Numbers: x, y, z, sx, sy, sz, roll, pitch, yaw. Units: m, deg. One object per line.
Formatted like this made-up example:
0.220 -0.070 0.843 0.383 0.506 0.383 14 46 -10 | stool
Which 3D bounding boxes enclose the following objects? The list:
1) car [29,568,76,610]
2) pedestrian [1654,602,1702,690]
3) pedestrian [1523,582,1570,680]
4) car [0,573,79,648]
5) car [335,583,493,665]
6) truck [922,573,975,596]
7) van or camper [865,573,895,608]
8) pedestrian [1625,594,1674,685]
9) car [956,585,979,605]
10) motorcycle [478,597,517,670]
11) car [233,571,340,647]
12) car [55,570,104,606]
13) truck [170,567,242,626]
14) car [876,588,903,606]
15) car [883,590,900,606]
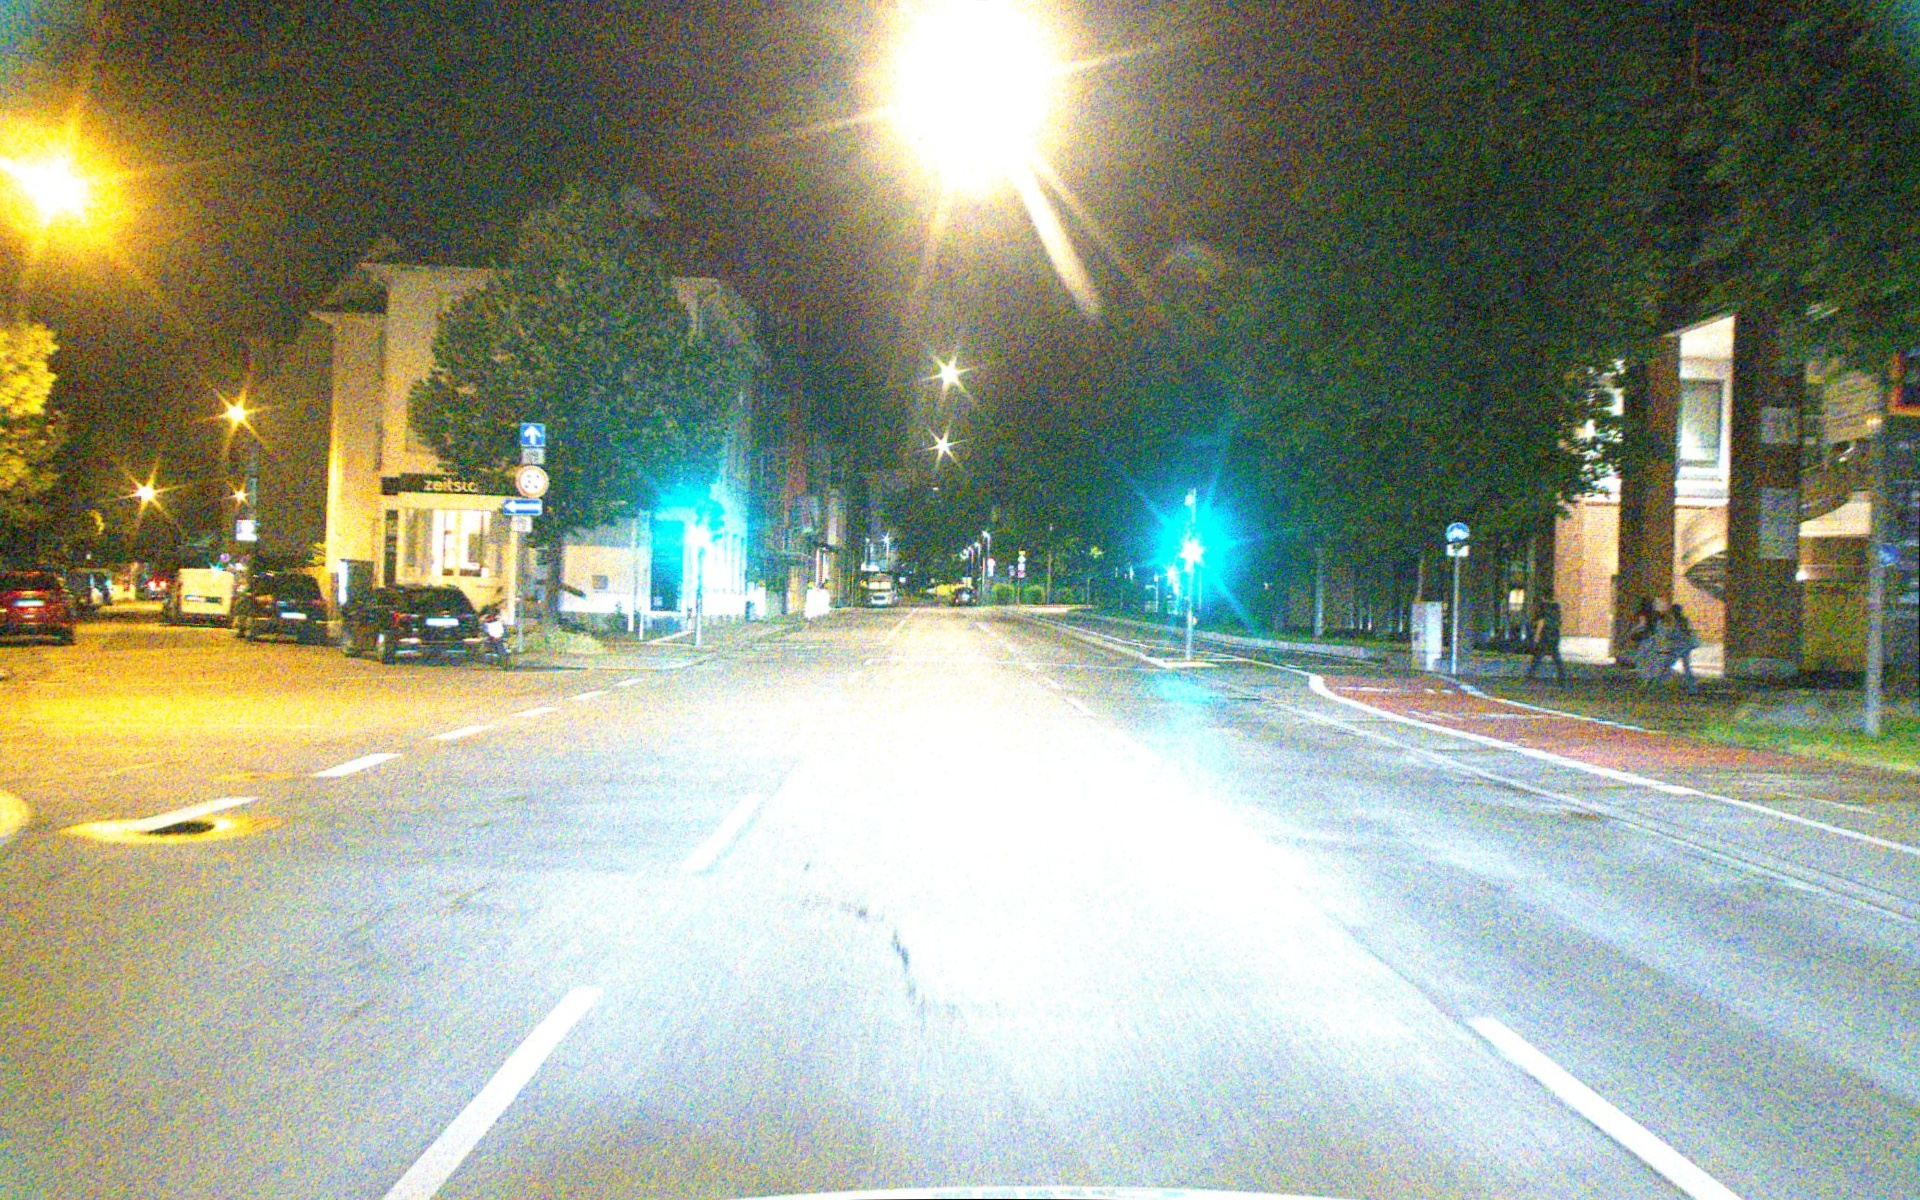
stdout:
-41.996 -0.519 76.591 1.774 1.841 3.964 1 0 -27 | car
13.009 0.823 29.975 0.561 1.560 0.633 1 0 -1 | pedestrian
11.231 0.591 31.678 0.609 1.843 0.759 1 0 -1 | pedestrian
-21.626 0.221 38.578 1.817 1.641 4.218 -1 0 -29 | car
-10.617 0.417 31.950 1.868 1.449 4.678 0 0 -32 | car
-1.504 -2.015 215.143 6.643 2.894 1.998 2 0 -4 | truck
-6.138 -0.676 126.981 2.114 2.580 6.224 -1 0 -1 | van or camper
12.939 0.734 31.032 0.608 1.667 0.679 1 0 -1 | pedestrian
0.622 -0.369 137.590 1.845 1.631 4.107 0 0 1 | car
-8.063 0.569 28.824 0.563 1.200 2.022 1 0 -18 | motorcycle
-16.535 0.190 40.487 1.893 1.673 4.072 4 -1 -29 | car
-44.222 -0.578 83.113 1.873 1.766 3.969 1 -1 -24 | car
-24.797 -0.106 54.333 1.869 1.839 4.074 1 -1 -29 | truck
-5.928 -0.248 138.199 1.804 1.533 4.734 0 0 -8 | car
-6.872 -0.181 166.162 1.643 1.594 4.103 1 -1 -1 | car
